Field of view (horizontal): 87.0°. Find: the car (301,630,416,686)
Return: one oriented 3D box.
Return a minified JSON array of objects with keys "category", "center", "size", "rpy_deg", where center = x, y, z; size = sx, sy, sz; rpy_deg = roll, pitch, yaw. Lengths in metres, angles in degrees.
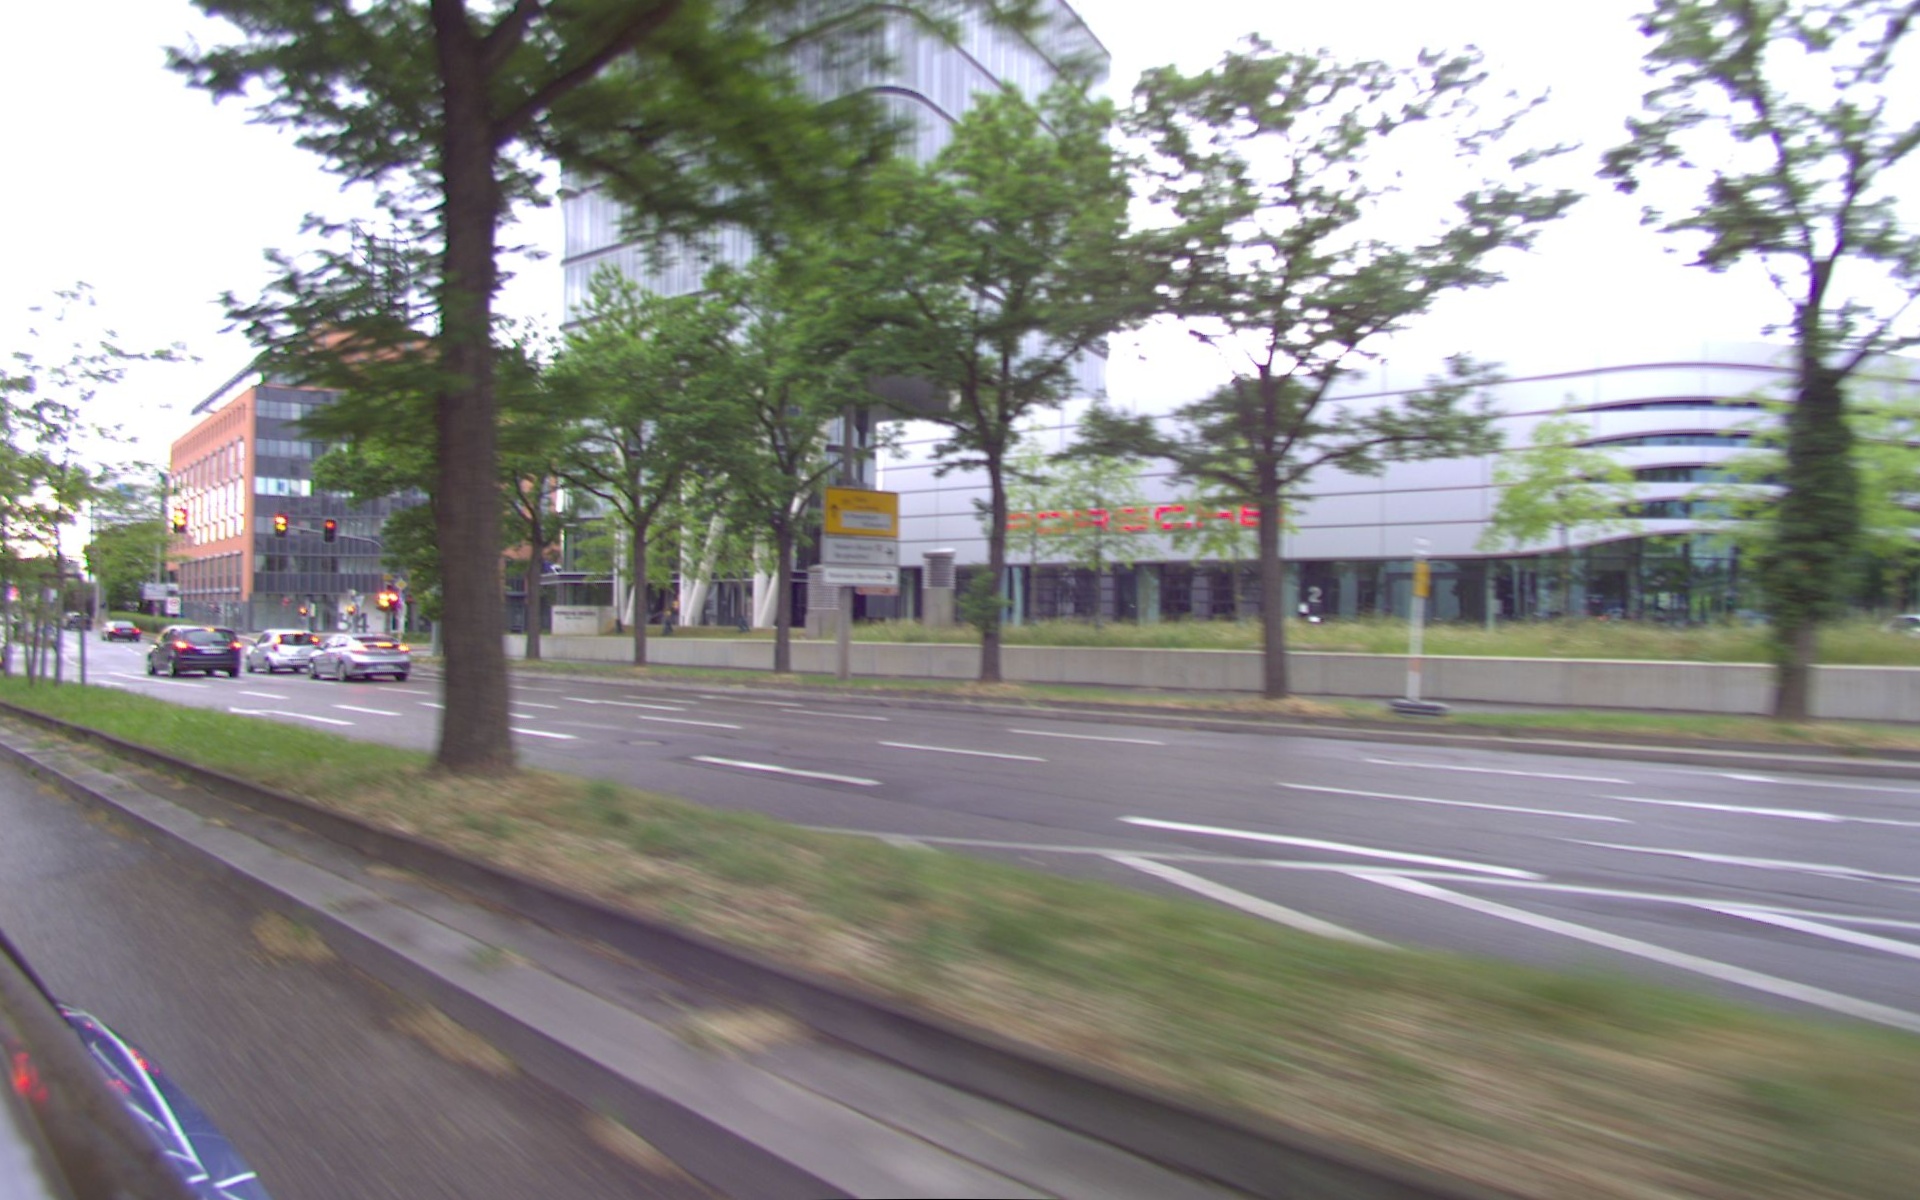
[{"category":"car","center":[-18.514,1.726,31.075],"size":[3.998,1.464,1.869],"rpy_deg":[-1,1,41]}]

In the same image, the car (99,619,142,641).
[{"category":"car","center":[-61.518,2.171,74.131],"size":[3.998,1.464,1.760],"rpy_deg":[-1,1,41]}]

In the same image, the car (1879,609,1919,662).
[{"category":"car","center":[27.536,1.013,27.590],"size":[1.759,1.423,3.988],"rpy_deg":[-1,0,10]}]

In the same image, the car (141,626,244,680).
[{"category":"car","center":[-24.995,1.675,32.917],"size":[4.172,1.602,1.822],"rpy_deg":[-1,-2,41]}]

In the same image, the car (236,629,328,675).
[{"category":"car","center":[-24.445,1.838,36.419],"size":[3.998,1.464,1.760],"rpy_deg":[-1,1,41]}]

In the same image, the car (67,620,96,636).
[{"category":"car","center":[-83.374,2.640,96.044],"size":[1.758,1.464,4.002],"rpy_deg":[-2,1,-45]}]
